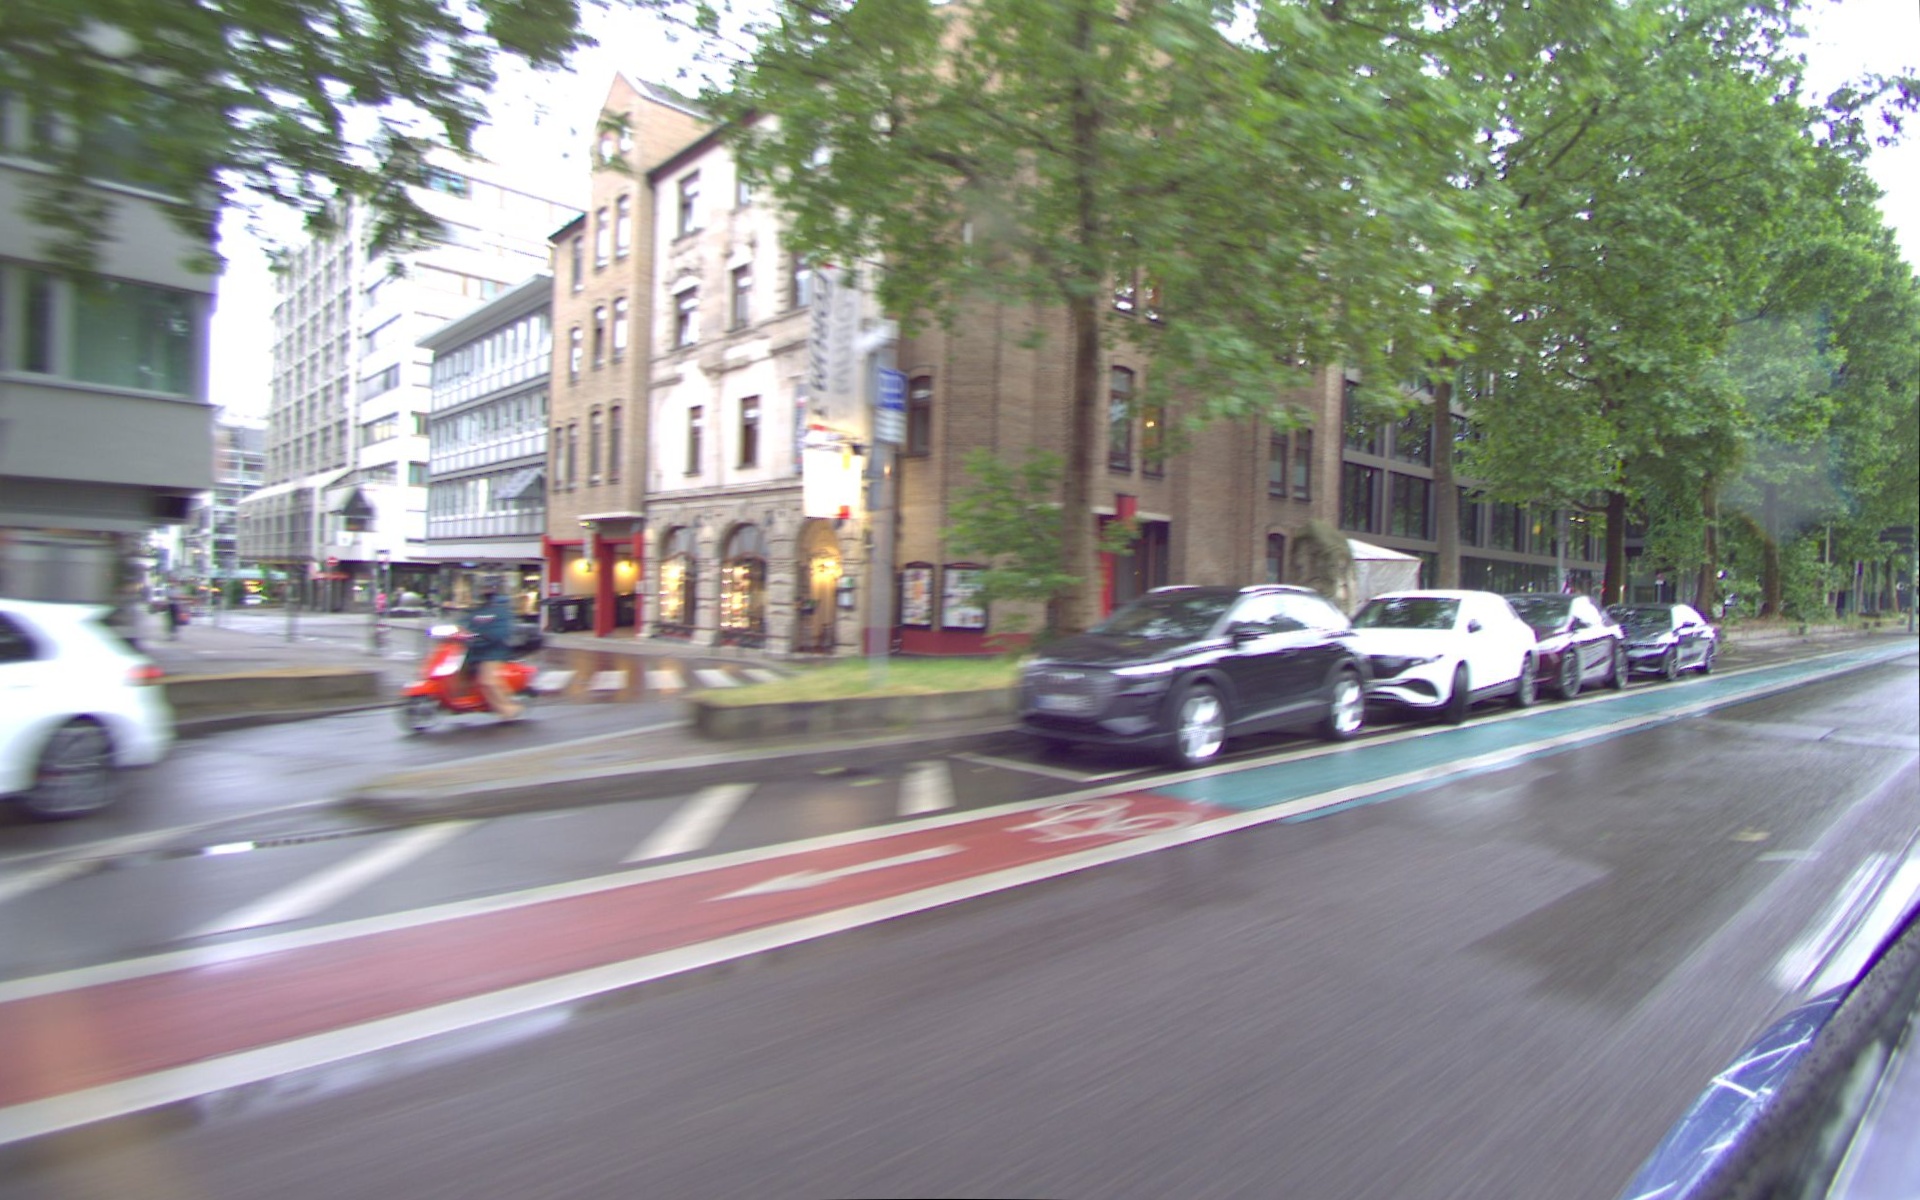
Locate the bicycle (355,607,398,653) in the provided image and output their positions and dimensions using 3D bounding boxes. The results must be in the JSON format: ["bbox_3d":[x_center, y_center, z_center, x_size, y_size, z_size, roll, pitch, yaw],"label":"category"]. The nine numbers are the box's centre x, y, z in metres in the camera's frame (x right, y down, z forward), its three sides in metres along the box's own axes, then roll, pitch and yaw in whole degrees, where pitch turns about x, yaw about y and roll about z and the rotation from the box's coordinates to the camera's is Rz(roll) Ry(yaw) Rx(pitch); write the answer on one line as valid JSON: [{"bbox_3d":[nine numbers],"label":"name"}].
[{"bbox_3d":[-13.057,0.648,22.635,0.613,0.949,1.972,1,0,-36],"label":"bicycle"}]

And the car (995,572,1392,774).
[{"bbox_3d":[2.530,0.585,10.280,4.348,1.623,1.795,0,0,-42],"label":"car"}]

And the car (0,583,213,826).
[{"bbox_3d":[-6.823,0.623,5.443,1.838,1.463,4.495,1,0,10],"label":"car"}]

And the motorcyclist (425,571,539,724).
[{"bbox_3d":[-5.481,0.511,11.617,0.842,1.665,0.862,1,0,31],"label":"motorcyclist"}]

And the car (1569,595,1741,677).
[{"bbox_3d":[13.930,0.639,20.191,4.505,1.451,1.746,0,0,-41],"label":"car"}]

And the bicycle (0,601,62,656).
[{"bbox_3d":[-16.975,0.487,17.563,2.041,0.907,0.583,3,1,-44],"label":"bicycle"}]

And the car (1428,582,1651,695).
[{"bbox_3d":[9.677,0.537,16.756,4.484,1.609,1.996,0,0,-43],"label":"car"}]

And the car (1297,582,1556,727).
[{"bbox_3d":[6.296,0.604,13.394,1.752,1.605,4.339,0,0,45],"label":"car"}]

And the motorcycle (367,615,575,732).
[{"bbox_3d":[-5.522,0.778,11.559,0.862,1.157,1.999,1,0,31],"label":"motorcycle"}]
